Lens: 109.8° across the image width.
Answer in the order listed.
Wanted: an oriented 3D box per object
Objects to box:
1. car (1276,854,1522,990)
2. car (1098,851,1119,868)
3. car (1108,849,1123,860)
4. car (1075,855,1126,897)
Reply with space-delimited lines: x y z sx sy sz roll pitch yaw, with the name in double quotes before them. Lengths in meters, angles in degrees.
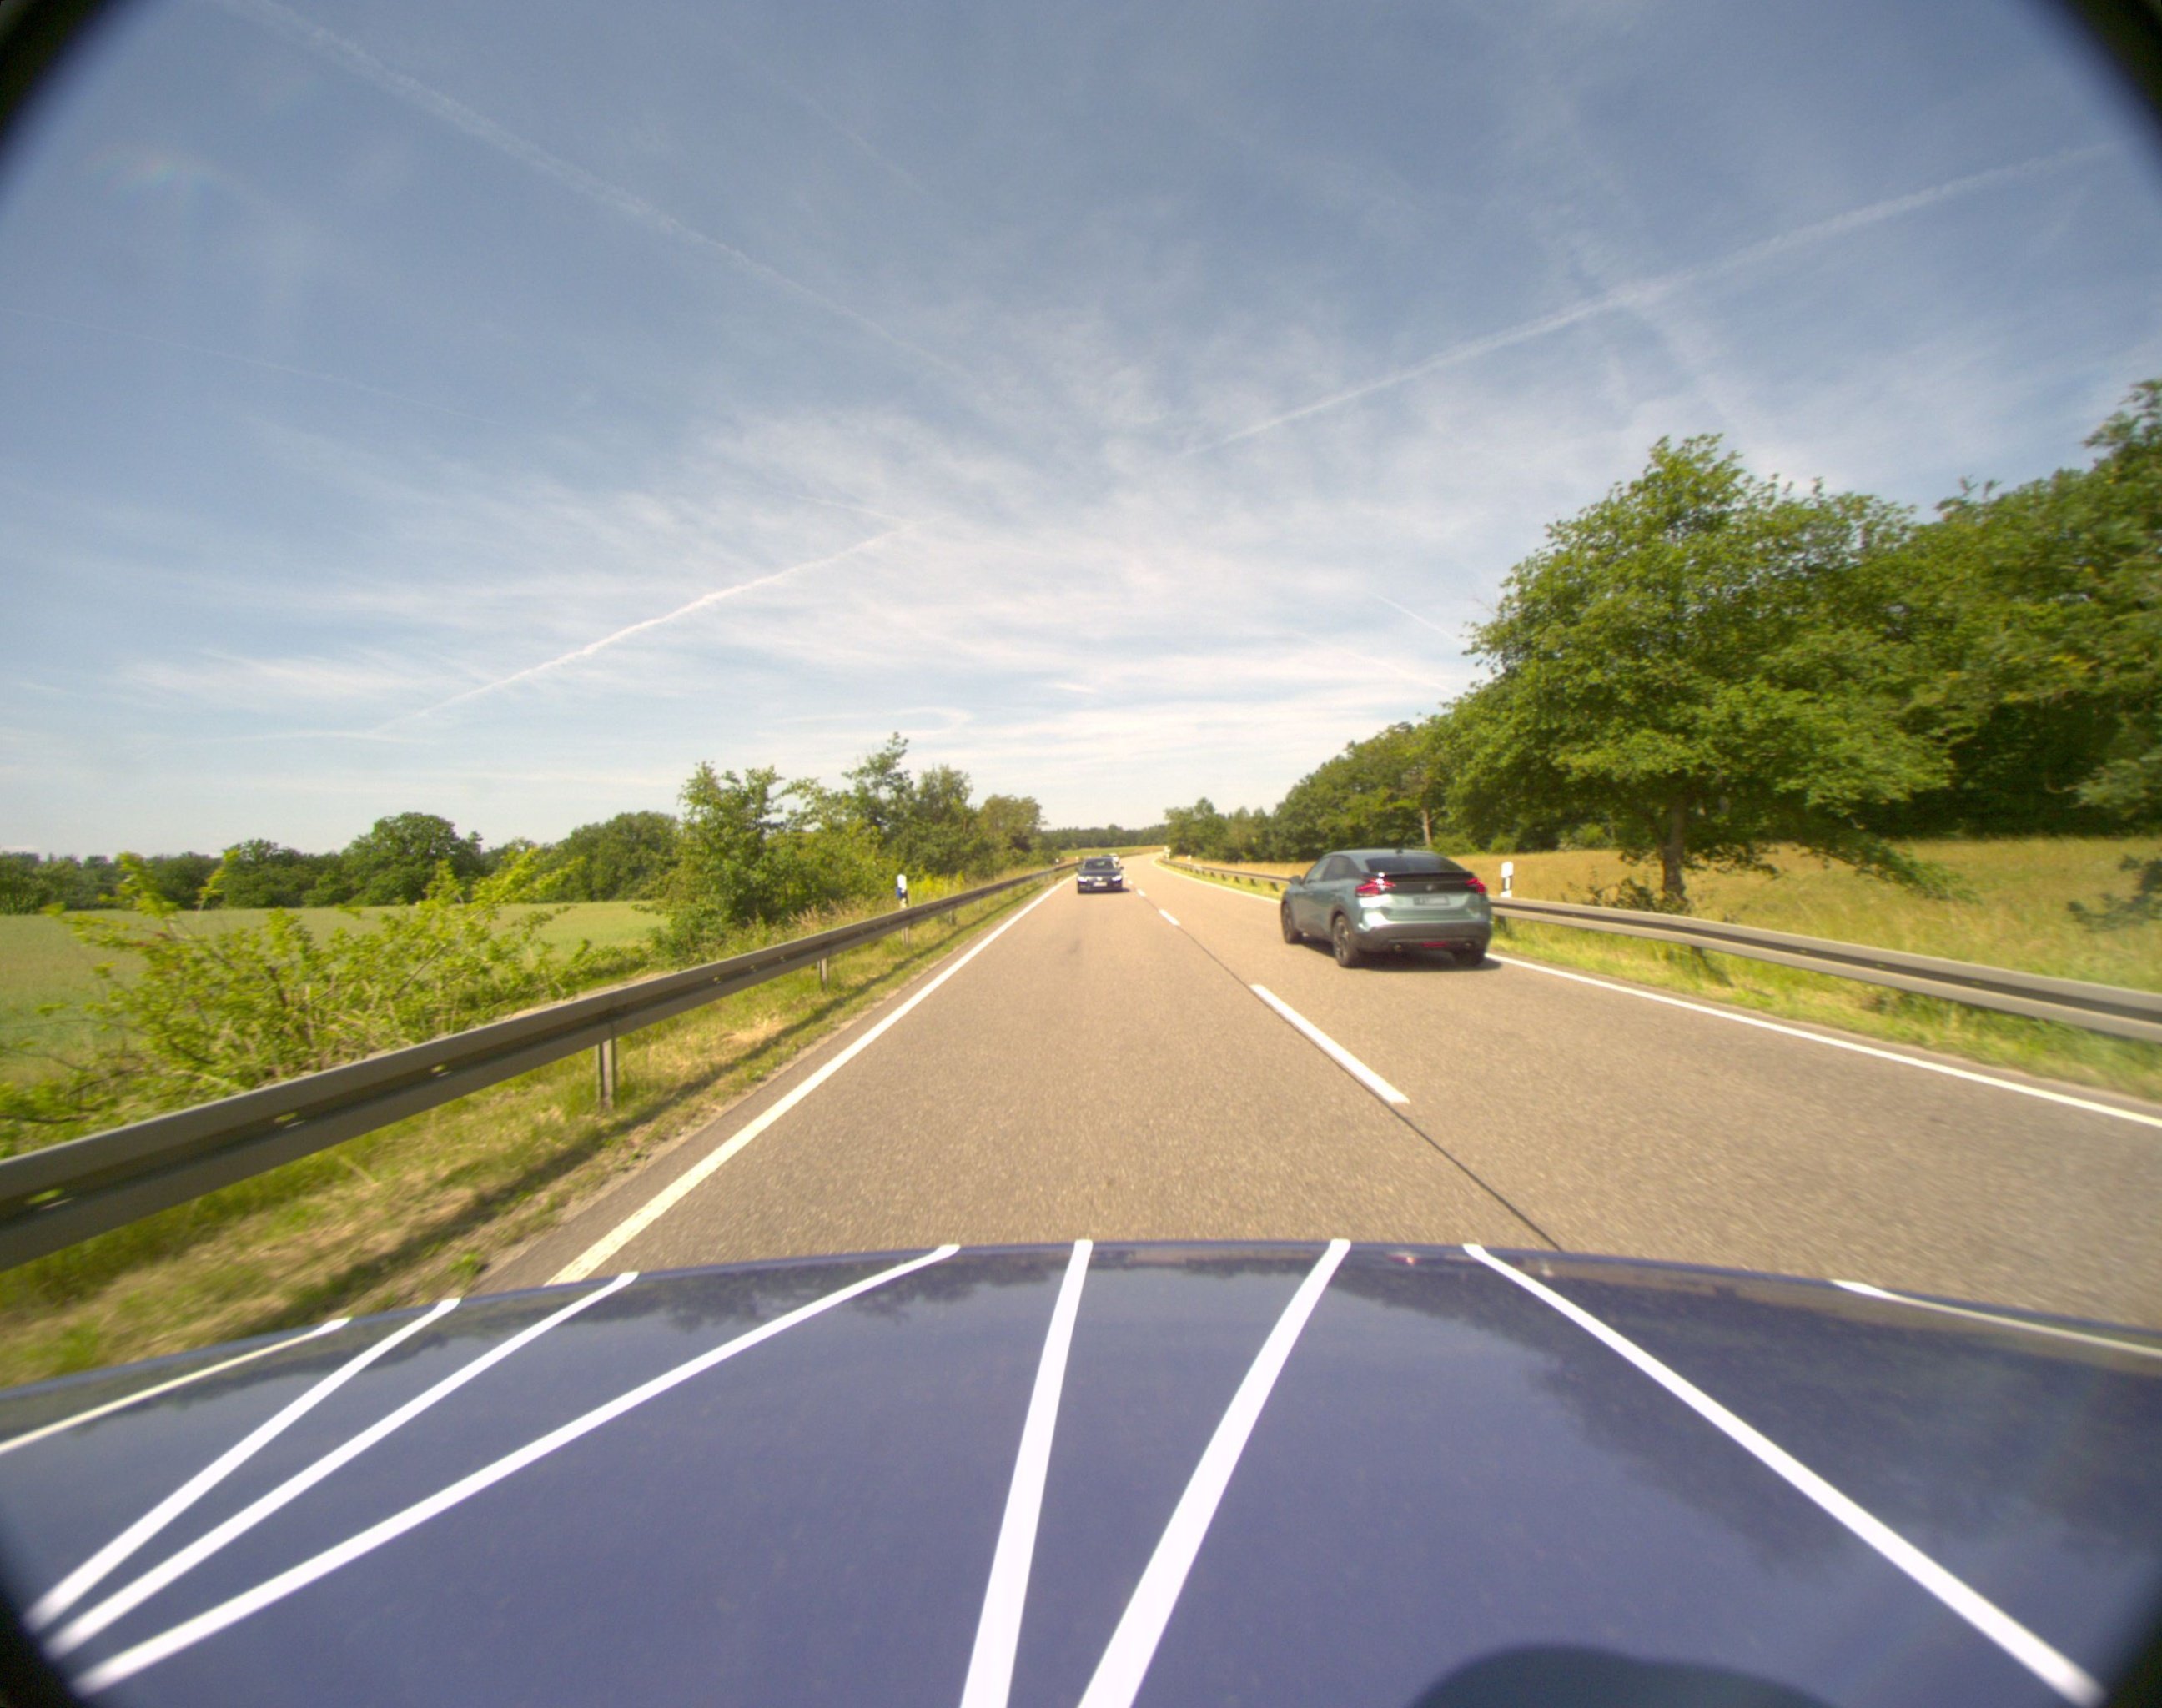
"car" 4.155 0.776 10.704 1.749 1.506 4.053 -1 0 0
"car" 2.629 0.523 72.185 1.928 1.501 4.292 -2 -1 2
"car" 4.956 0.086 109.354 1.928 1.501 4.292 -2 -1 1
"car" 0.796 0.827 30.199 1.821 1.501 4.501 -2 -1 2
